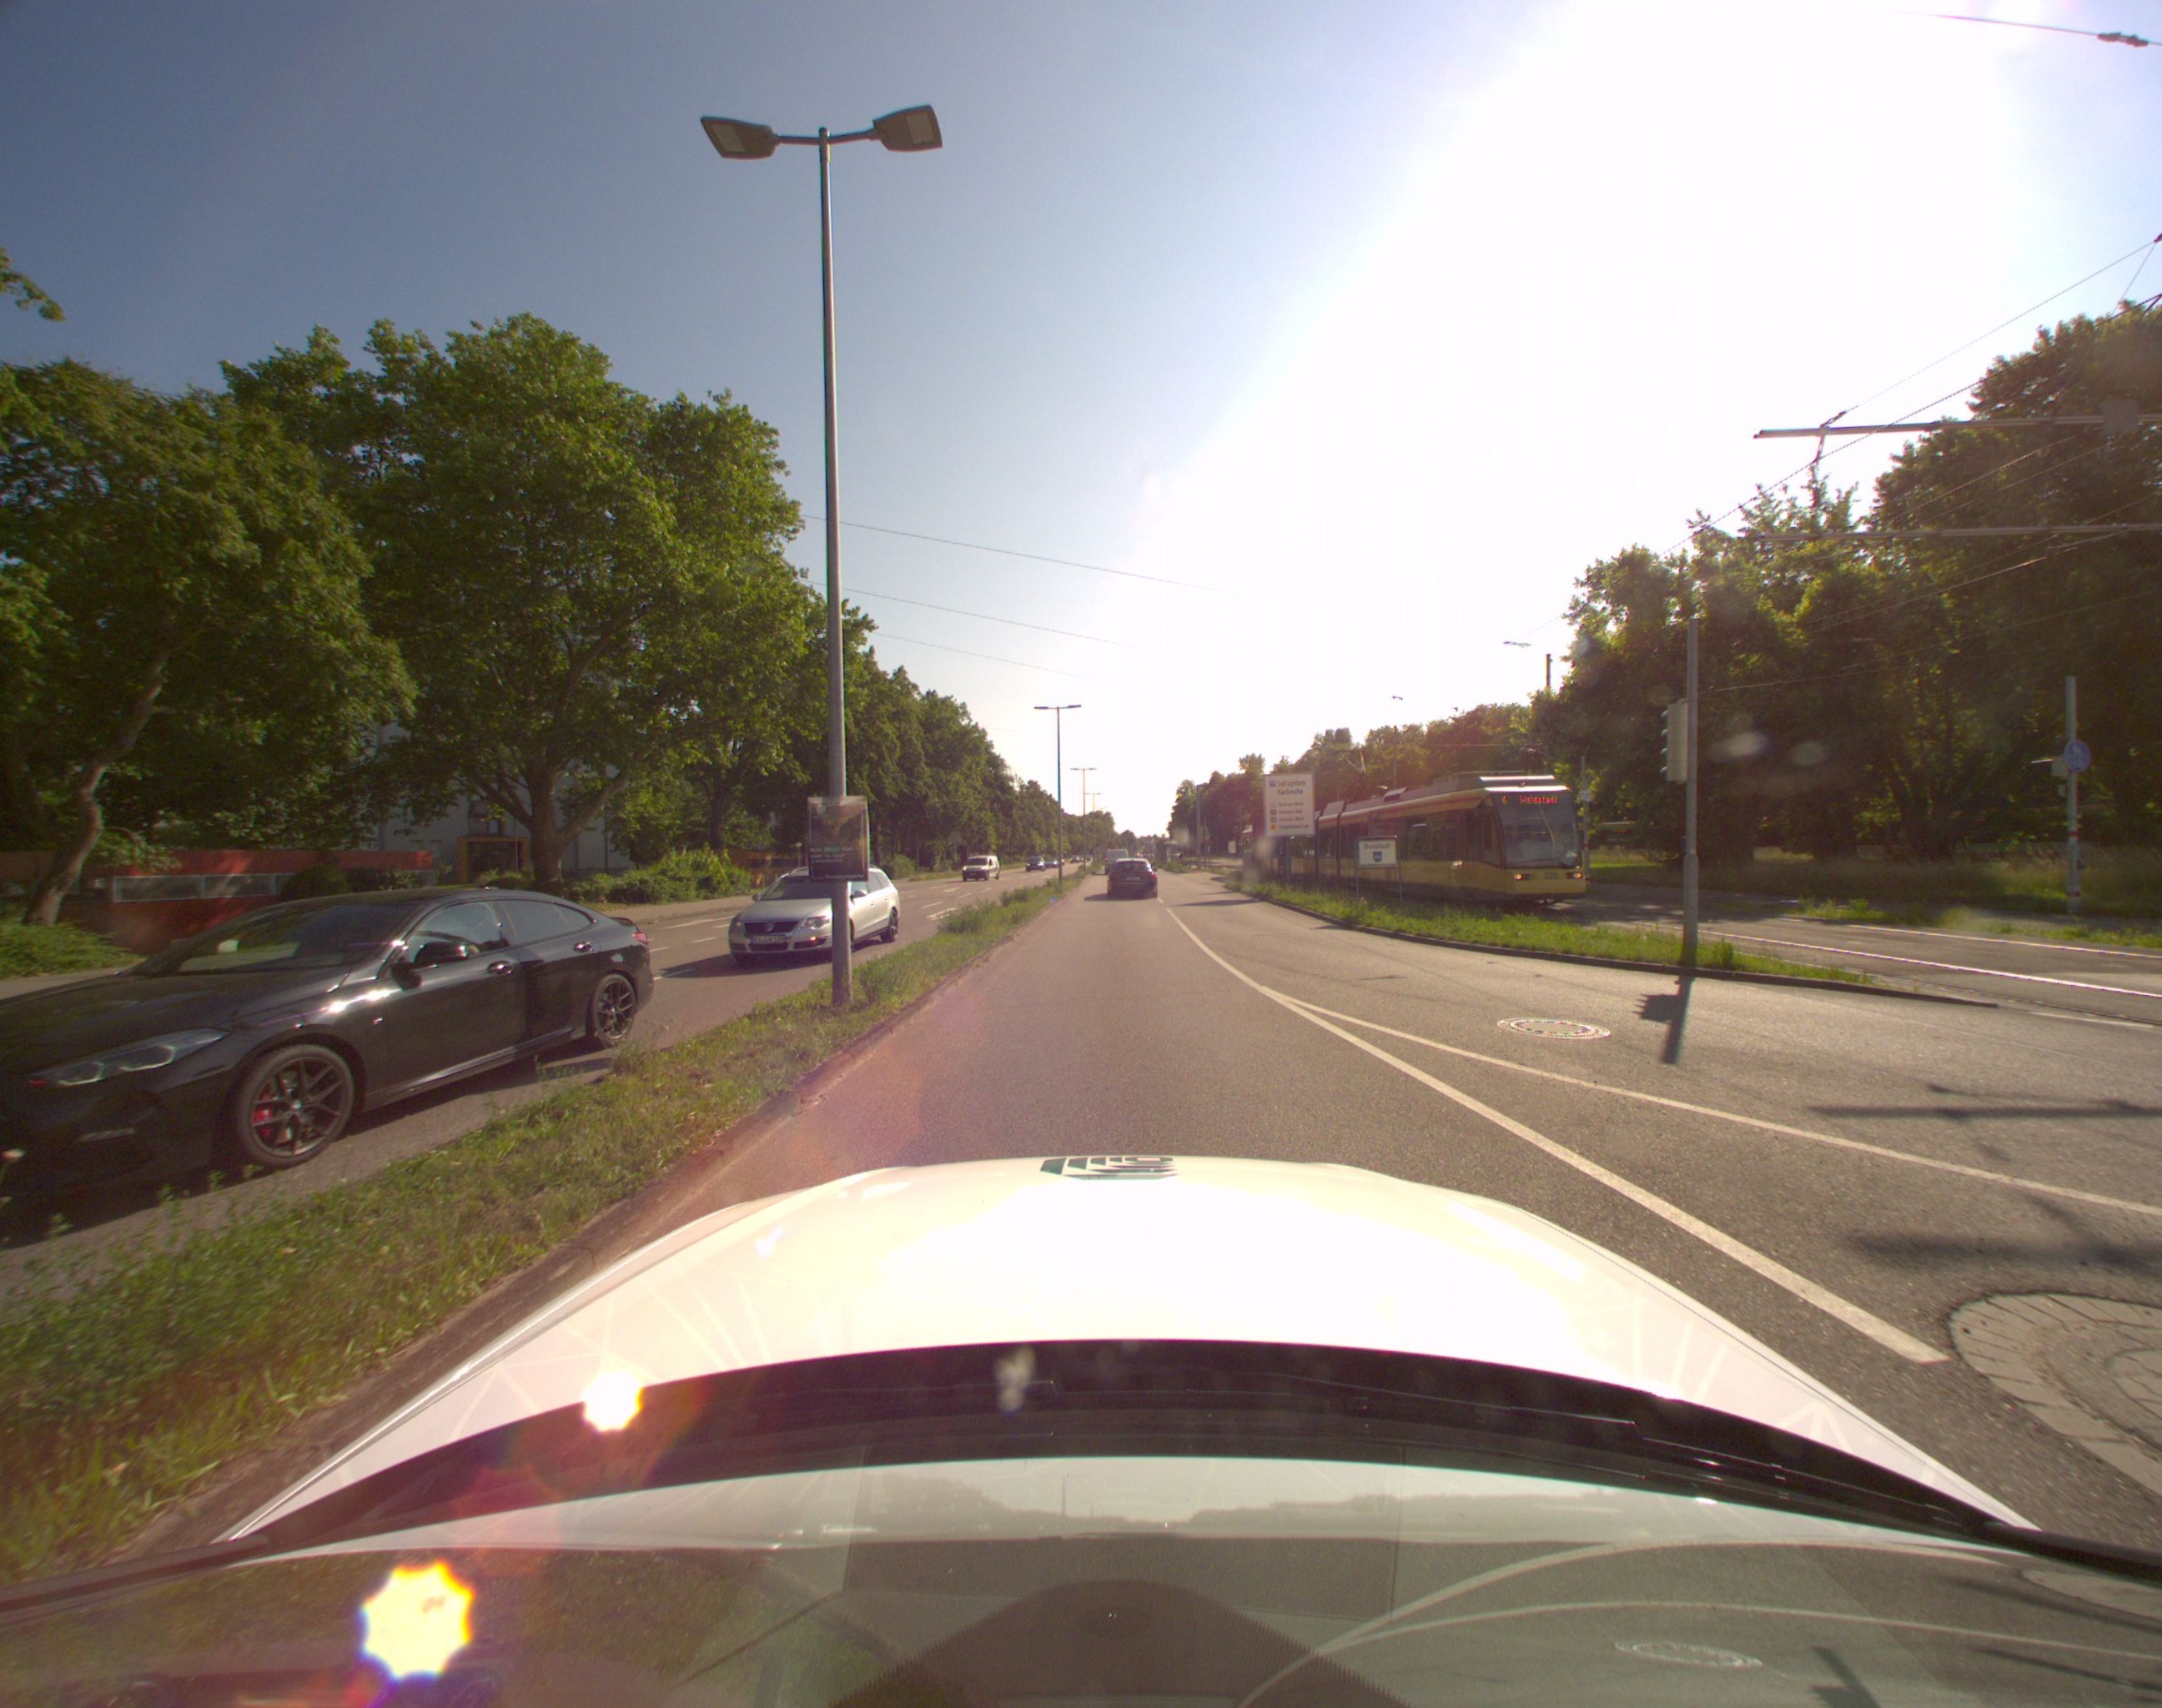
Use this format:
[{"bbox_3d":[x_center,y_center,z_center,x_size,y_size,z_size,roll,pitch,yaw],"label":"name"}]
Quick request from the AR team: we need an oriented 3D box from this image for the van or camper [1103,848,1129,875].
[{"bbox_3d":[2.896,0.570,66.712,1.985,2.096,4.601,-1,0,3],"label":"van or camper"}]

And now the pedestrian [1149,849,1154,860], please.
[{"bbox_3d":[12.728,0.105,147.210,0.696,2.013,0.703,-1,0,2],"label":"pedestrian"}]

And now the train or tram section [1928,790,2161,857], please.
[{"bbox_3d":[58.917,-1.716,47.987,3.065,3.579,12.106,-1,0,-32],"label":"train or tram section"}]

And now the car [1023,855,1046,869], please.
[{"bbox_3d":[-4.877,0.808,85.602,1.781,1.415,4.391,-1,0,4],"label":"car"}]

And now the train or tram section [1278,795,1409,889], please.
[{"bbox_3d":[11.378,-0.415,36.750,2.739,3.554,11.264,0,-1,3],"label":"train or tram section"}]

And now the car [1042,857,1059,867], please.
[{"bbox_3d":[-3.951,1.046,106.983,1.781,1.328,4.740,-1,0,3],"label":"car"}]

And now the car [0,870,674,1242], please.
[{"bbox_3d":[-4.925,0.911,5.587,1.821,1.435,4.384,-3,0,3],"label":"car"}]

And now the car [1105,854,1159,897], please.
[{"bbox_3d":[1.982,0.789,31.347,1.895,1.506,4.069,-1,0,4],"label":"car"}]

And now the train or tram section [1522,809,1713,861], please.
[{"bbox_3d":[41.798,-1.382,64.084,12.279,3.579,3.073,-1,0,32],"label":"train or tram section"}]

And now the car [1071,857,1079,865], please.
[{"bbox_3d":[-1.207,1.482,173.935,1.527,1.486,4.002,-1,0,2],"label":"car"}]

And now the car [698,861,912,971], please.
[{"bbox_3d":[-4.548,0.939,14.301,1.840,1.477,4.650,-3,0,4],"label":"car"}]

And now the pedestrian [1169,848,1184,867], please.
[{"bbox_3d":[8.401,0.329,71.703,0.988,1.634,0.726,-1,0,36],"label":"pedestrian"}]

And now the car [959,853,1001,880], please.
[{"bbox_3d":[-7.057,0.852,57.499,1.779,1.772,4.579,-2,0,7],"label":"car"}]

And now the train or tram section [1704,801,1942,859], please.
[{"bbox_3d":[51.482,-1.568,57.294,12.072,3.579,3.074,-1,0,37],"label":"train or tram section"}]

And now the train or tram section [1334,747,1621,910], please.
[{"bbox_3d":[10.853,-0.522,24.683,2.785,3.618,12.961,0,-1,2],"label":"train or tram section"}]

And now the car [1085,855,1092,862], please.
[{"bbox_3d":[1.944,1.160,212.573,1.842,1.552,4.002,-1,0,2],"label":"car"}]

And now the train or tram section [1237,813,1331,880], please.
[{"bbox_3d":[11.990,-0.313,49.828,2.674,3.481,14.979,0,-1,3],"label":"train or tram section"}]
